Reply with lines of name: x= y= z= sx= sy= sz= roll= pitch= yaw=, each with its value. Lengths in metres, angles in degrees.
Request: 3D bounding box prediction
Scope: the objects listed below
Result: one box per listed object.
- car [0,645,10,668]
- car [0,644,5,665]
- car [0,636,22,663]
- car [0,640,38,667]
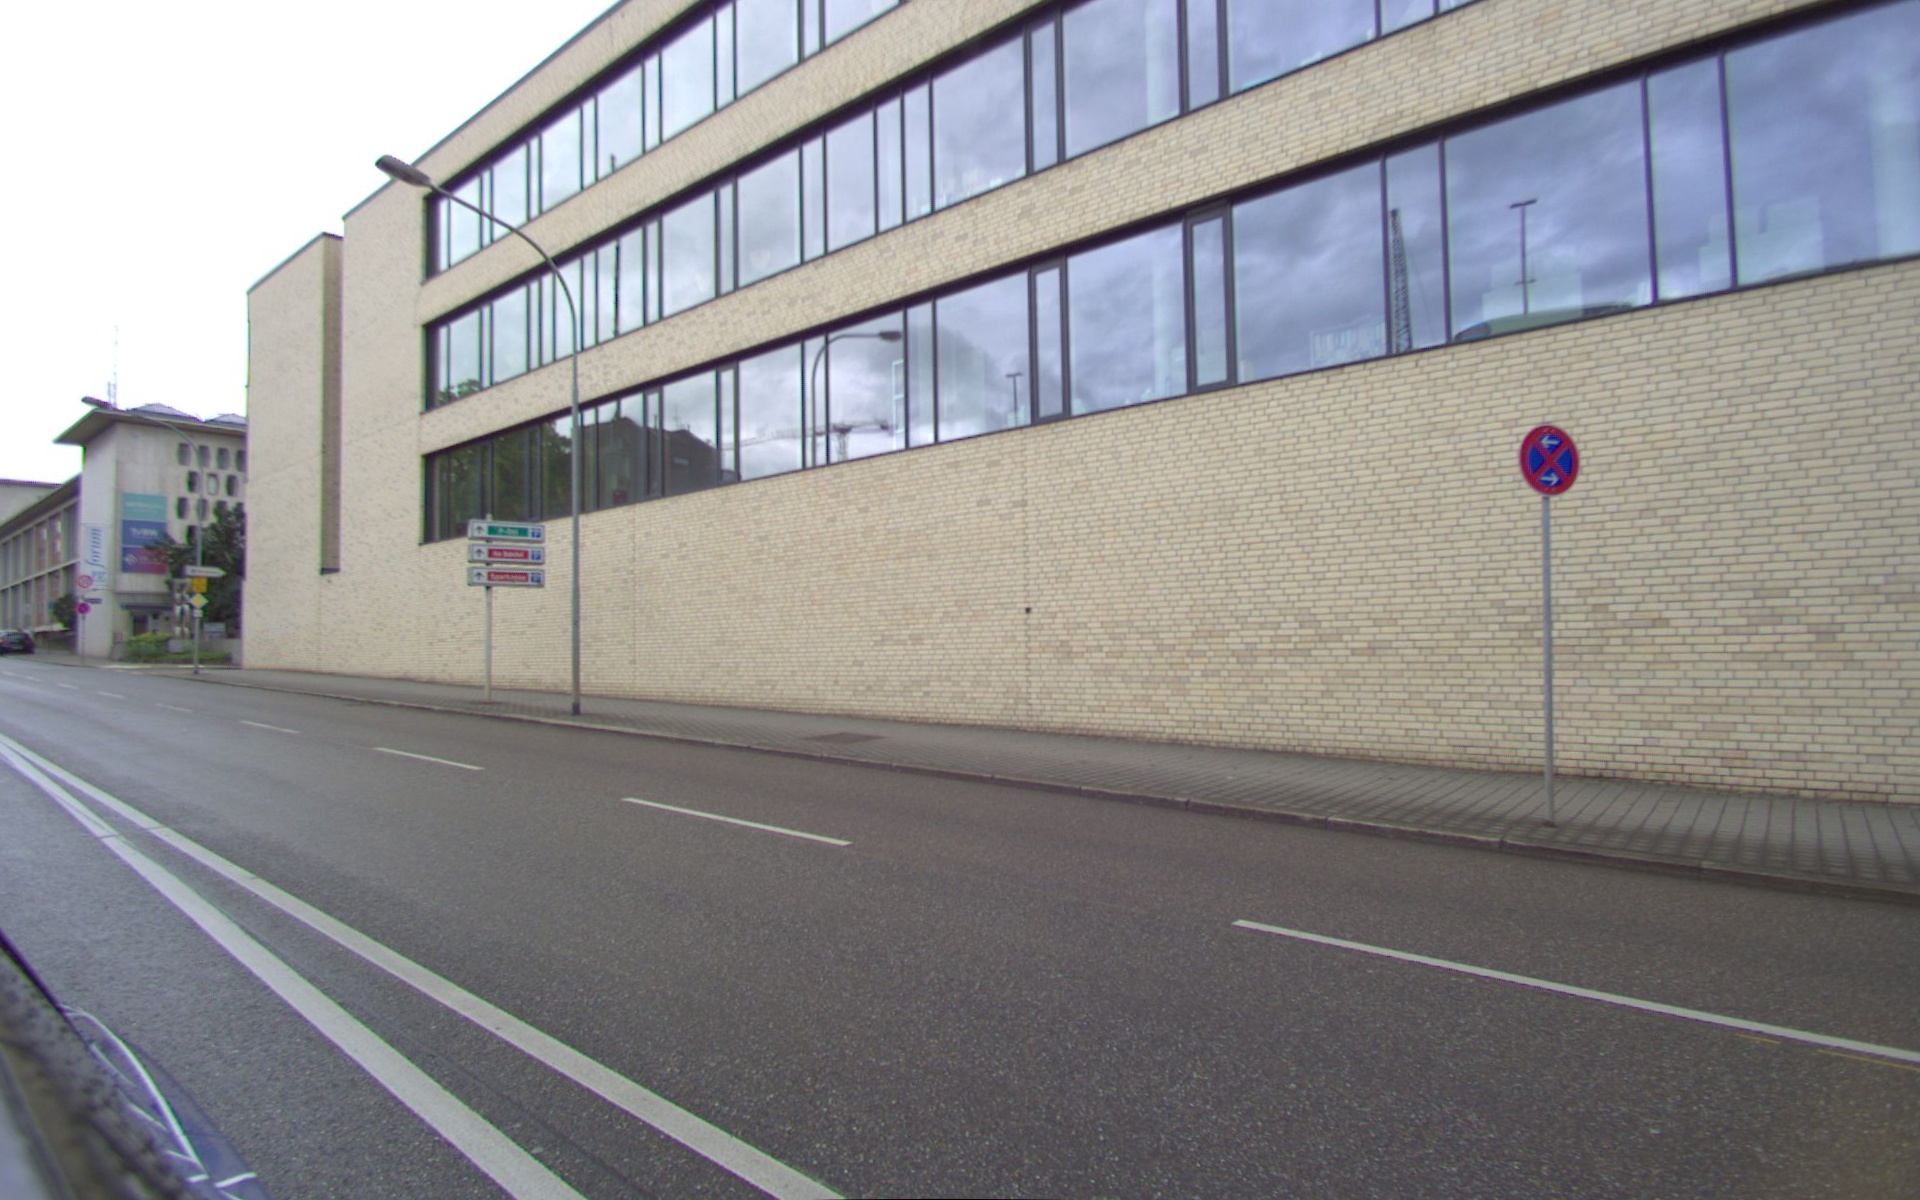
car: x=-69.061 y=4.020 z=71.856 sx=3.999 sy=1.523 sz=1.972 roll=-1 pitch=0 yaw=42
car: x=-72.626 y=4.061 z=75.201 sx=4.184 sy=1.502 sz=1.973 roll=-1 pitch=0 yaw=41
car: x=-64.830 y=3.348 z=68.189 sx=3.998 sy=1.654 sz=1.973 roll=-1 pitch=0 yaw=41
car: x=-60.716 y=3.395 z=64.769 sx=3.997 sy=1.541 sz=1.974 roll=-1 pitch=0 yaw=40
